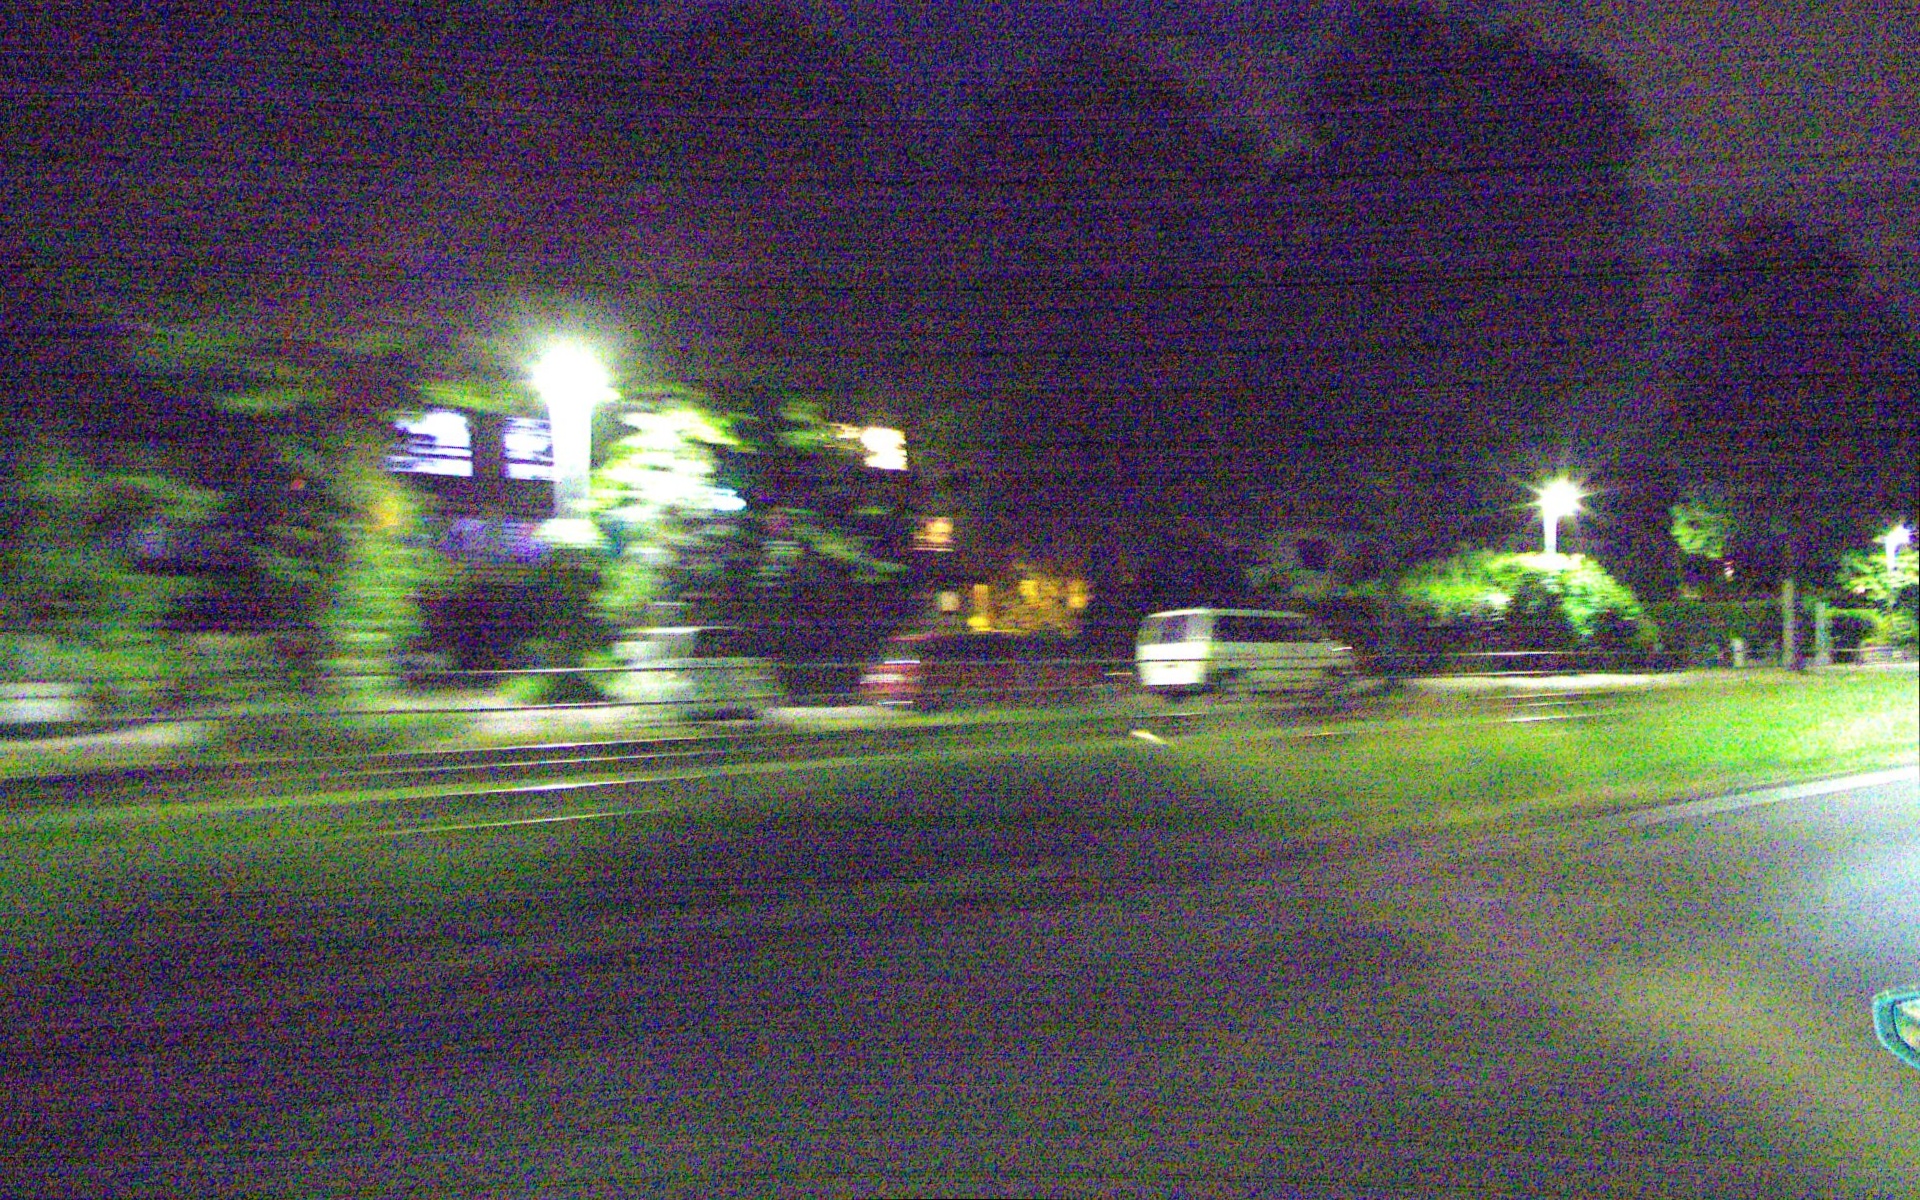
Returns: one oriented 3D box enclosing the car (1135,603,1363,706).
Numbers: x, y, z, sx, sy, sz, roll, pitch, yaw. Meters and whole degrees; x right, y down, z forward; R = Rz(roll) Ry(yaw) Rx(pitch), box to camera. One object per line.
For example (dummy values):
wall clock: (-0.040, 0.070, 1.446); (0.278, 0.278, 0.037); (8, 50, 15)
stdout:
car: (6.072, 1.091, 20.880); (4.827, 1.929, 1.847); (1, -2, -33)

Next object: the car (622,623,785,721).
car: (-4.015, 1.034, 15.465); (1.518, 1.343, 3.010); (1, -2, -34)

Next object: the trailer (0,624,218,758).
trailer: (-11.338, 1.038, 11.109); (4.592, 1.392, 2.414); (1, -6, -25)

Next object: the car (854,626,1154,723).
car: (0.836, 1.254, 17.928); (5.105, 1.542, 1.895); (1, -2, -27)
